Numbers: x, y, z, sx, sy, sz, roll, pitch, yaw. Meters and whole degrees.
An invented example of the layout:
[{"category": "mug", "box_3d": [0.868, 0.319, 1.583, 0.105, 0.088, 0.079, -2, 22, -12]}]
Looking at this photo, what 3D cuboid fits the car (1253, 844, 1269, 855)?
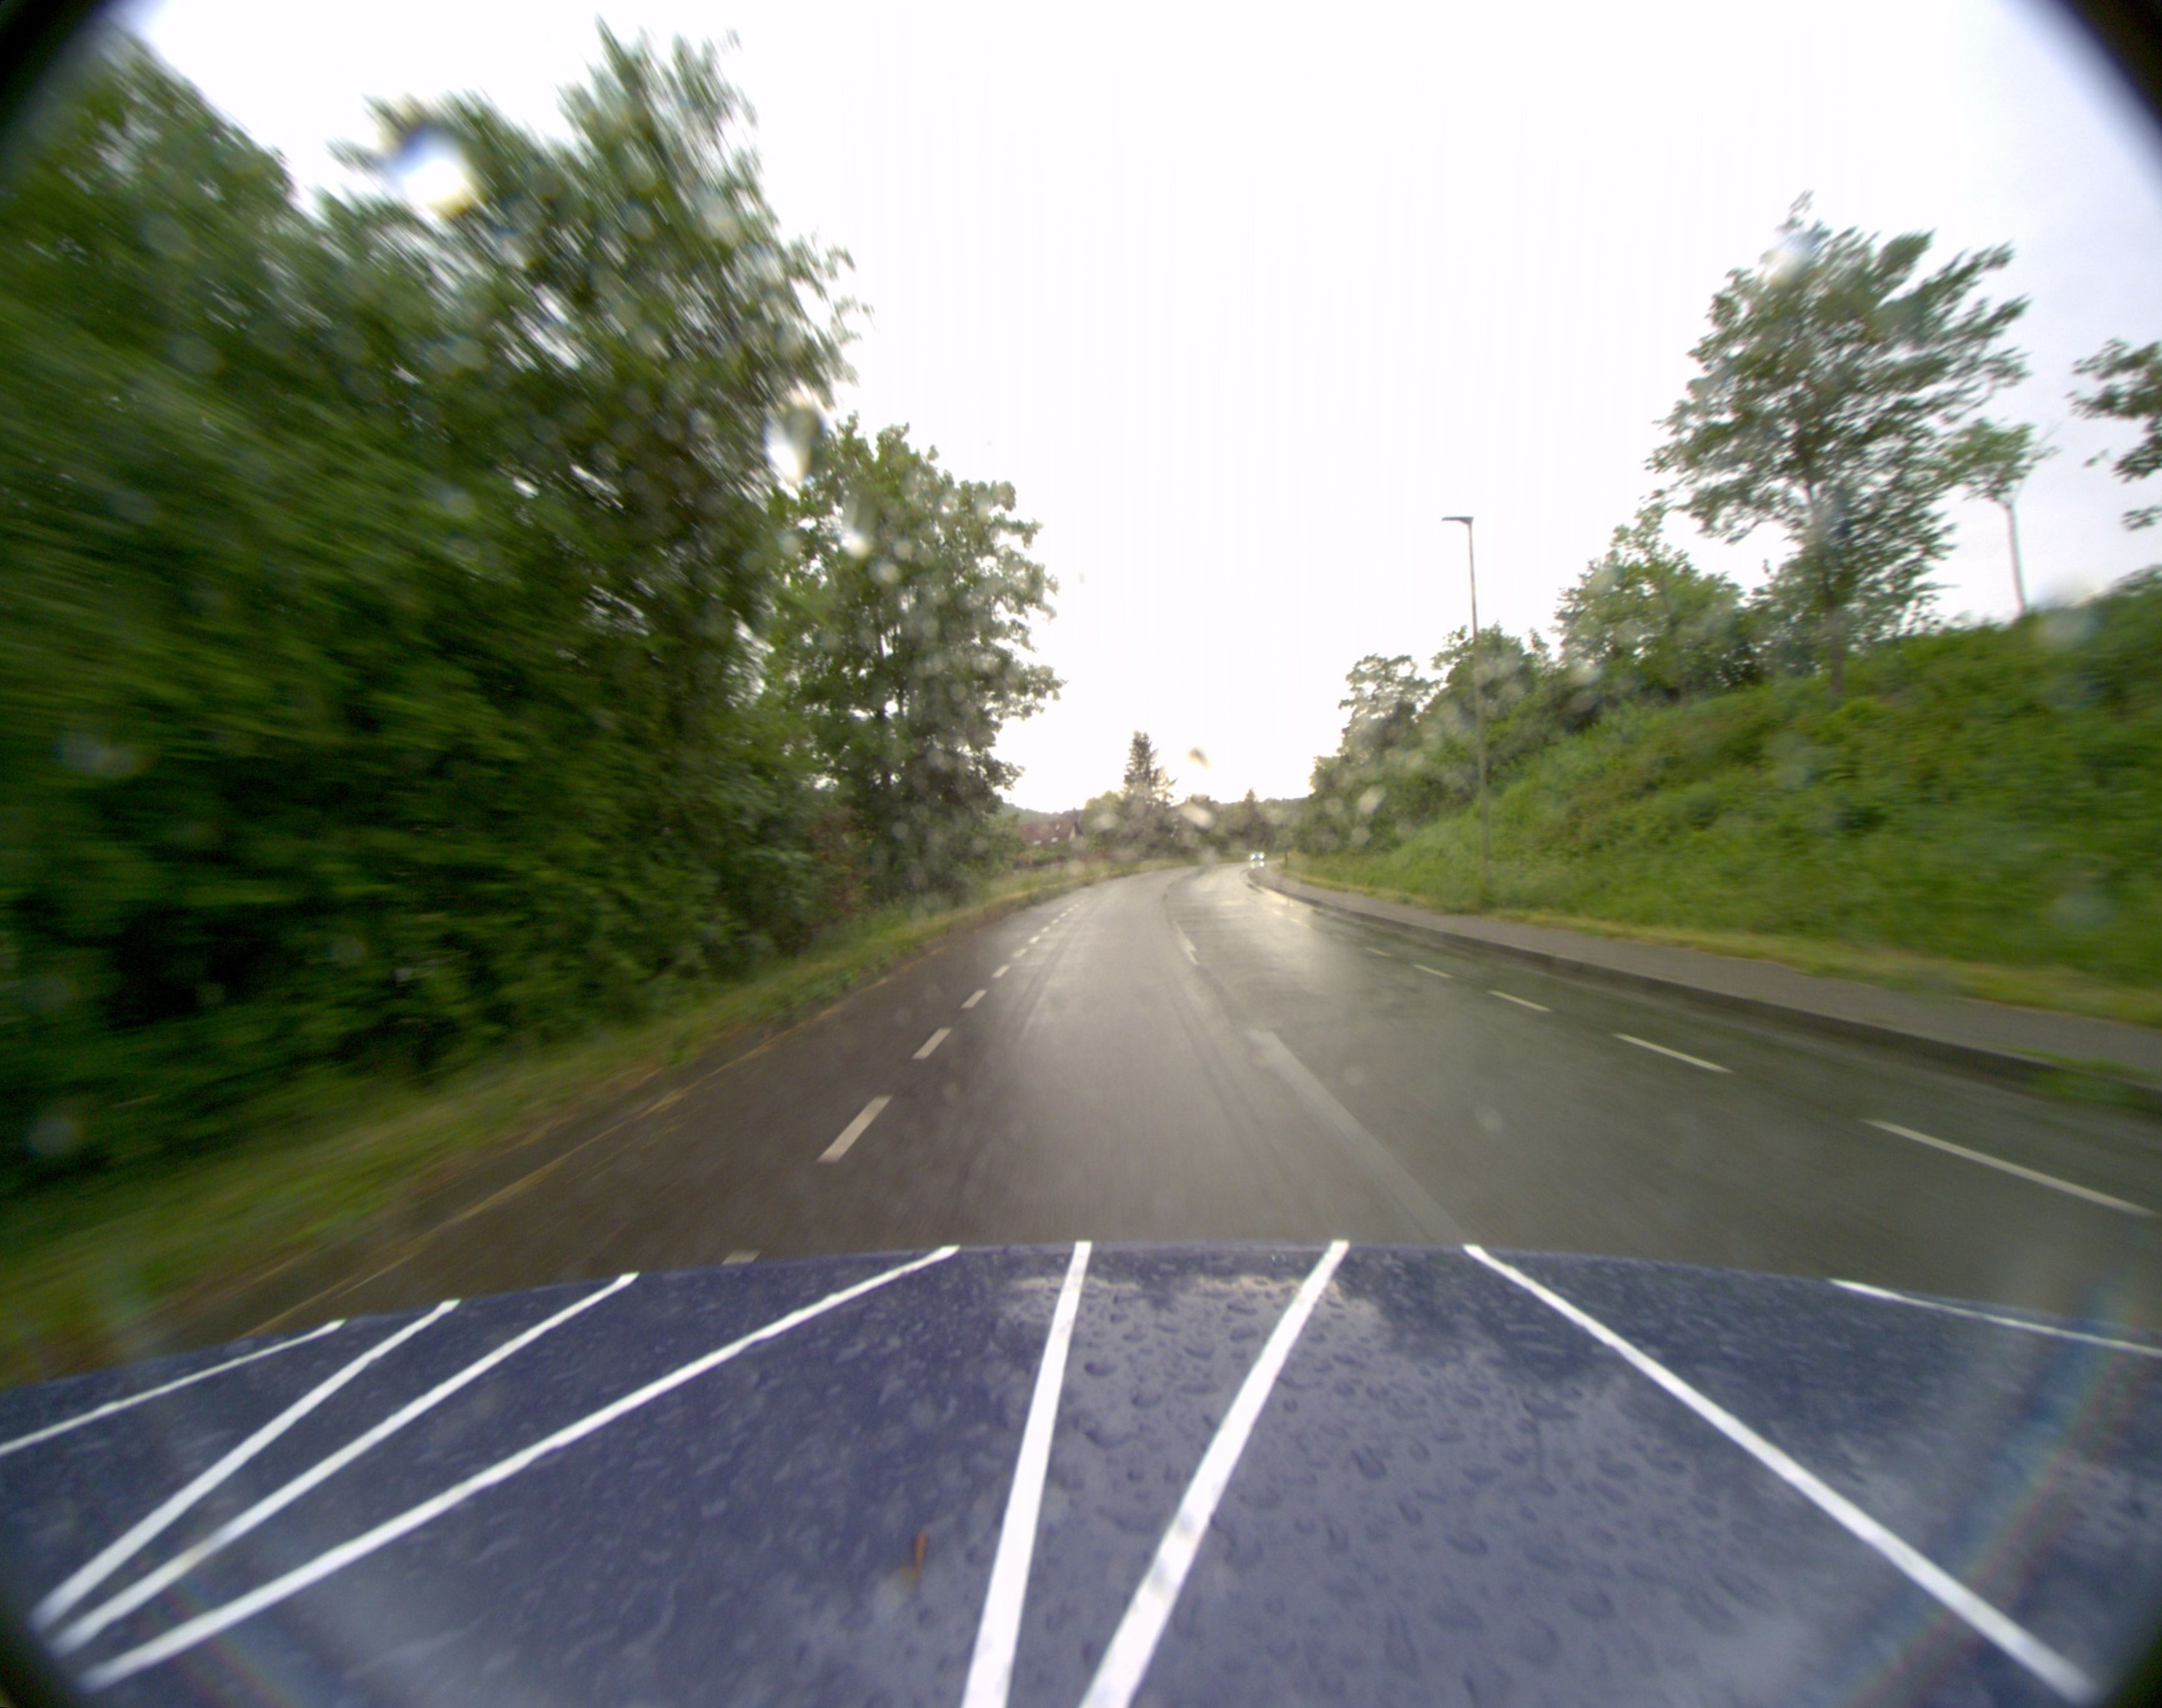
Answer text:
[{"category": "car", "box_3d": [27.998, -0.699, 118.001, 1.876, 1.596, 4.006, 0, 1, 22]}]
